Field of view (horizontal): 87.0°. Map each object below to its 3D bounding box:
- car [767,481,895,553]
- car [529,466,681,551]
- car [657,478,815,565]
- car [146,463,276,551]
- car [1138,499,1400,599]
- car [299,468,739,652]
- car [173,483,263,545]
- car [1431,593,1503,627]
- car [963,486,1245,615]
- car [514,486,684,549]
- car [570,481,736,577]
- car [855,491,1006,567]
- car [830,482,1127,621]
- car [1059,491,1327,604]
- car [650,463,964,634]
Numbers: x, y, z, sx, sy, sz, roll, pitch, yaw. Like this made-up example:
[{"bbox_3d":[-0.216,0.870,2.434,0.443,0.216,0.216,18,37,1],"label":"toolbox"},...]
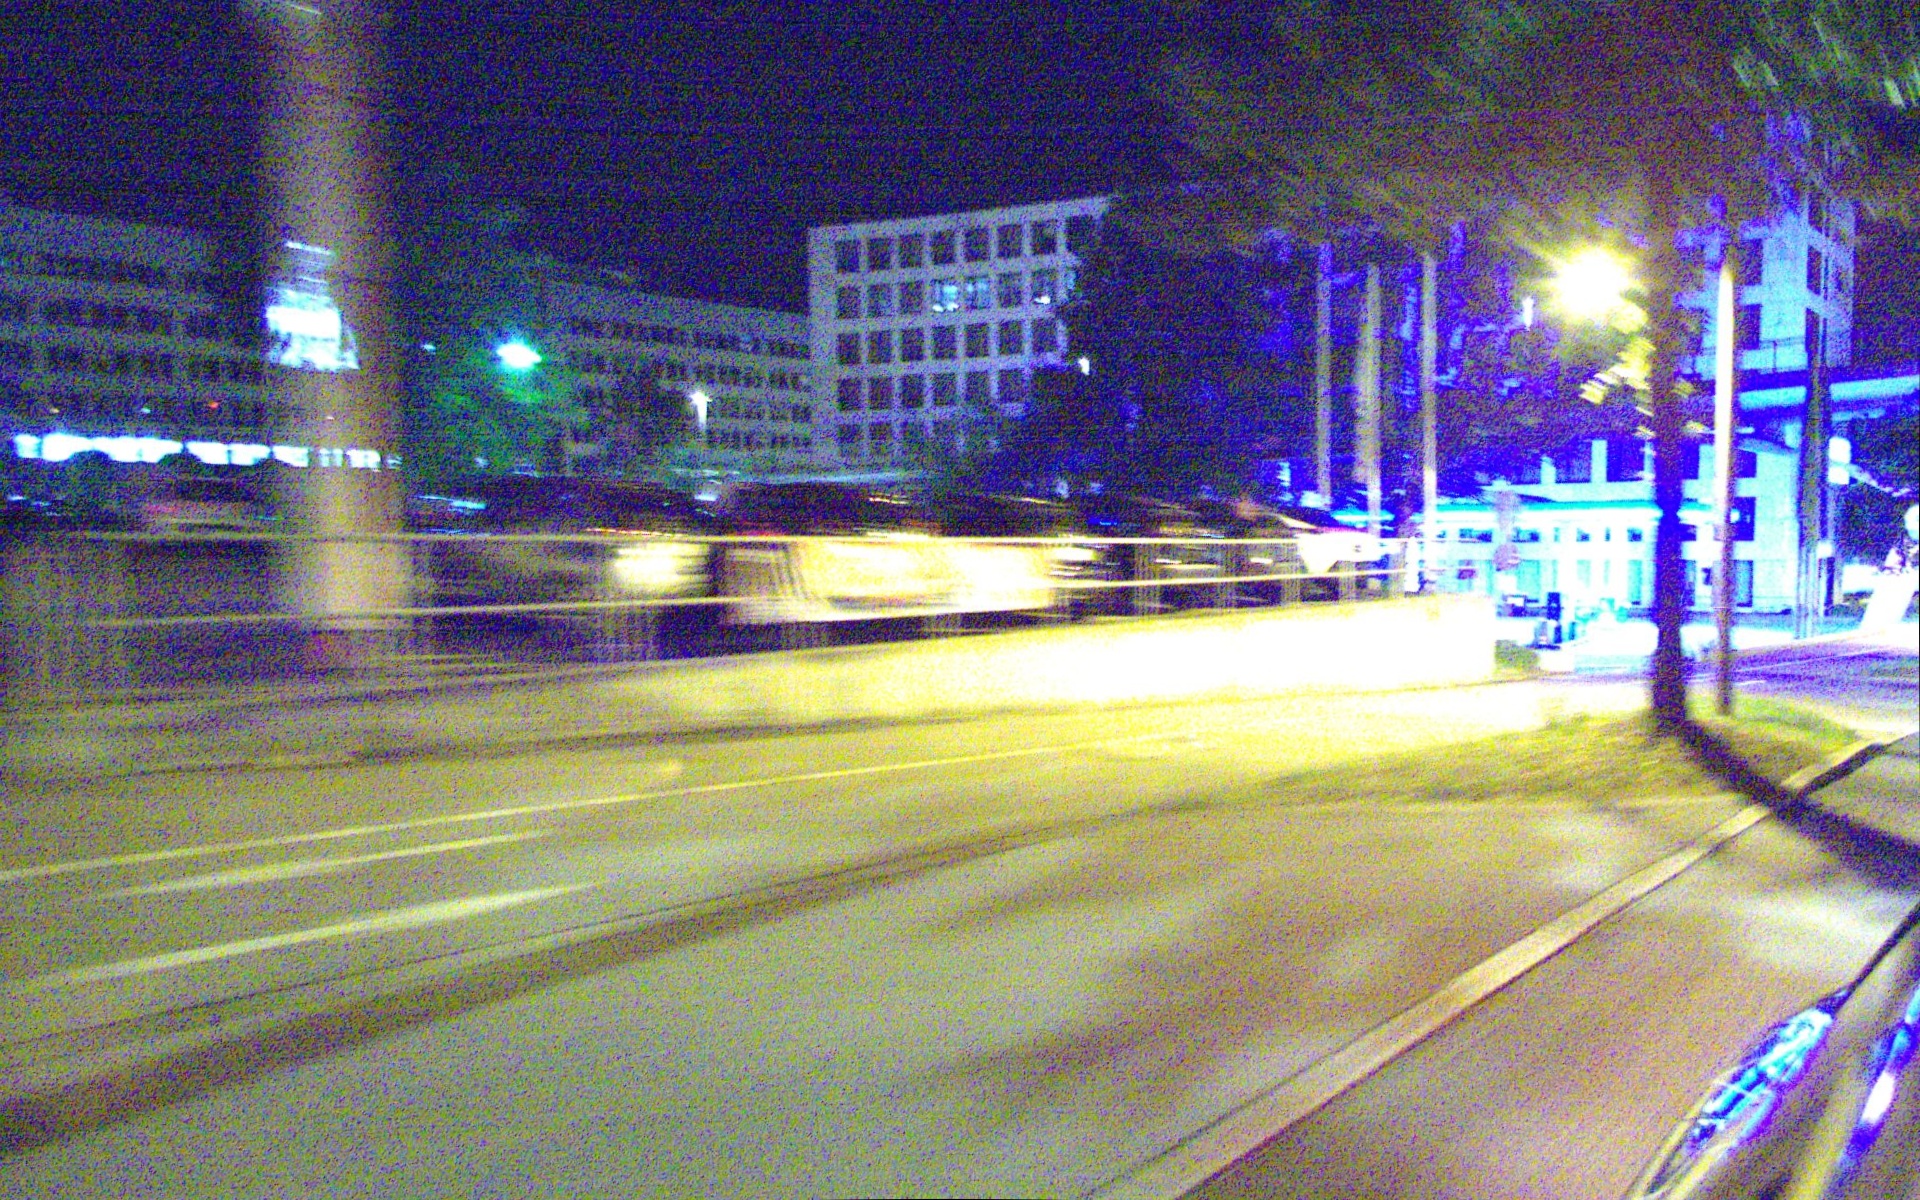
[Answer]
[{"bbox_3d":[-3.731,-2.341,28.870,1.723,1.918,3.814,-2,4,-43],"label":"car"},{"bbox_3d":[-9.007,-2.250,25.467,1.967,1.933,4.583,-2,5,-43],"label":"car"},{"bbox_3d":[-5.096,-1.800,22.575,1.719,1.745,4.375,-2,6,-38],"label":"car"},{"bbox_3d":[-14.449,-1.744,19.449,1.834,1.508,3.998,-2,5,-39],"label":"car"},{"bbox_3d":[5.317,-0.953,17.883,1.790,1.540,4.131,-3,5,-39],"label":"car"},{"bbox_3d":[-4.272,-0.483,9.919,3.795,1.507,1.731,3,5,19],"label":"car"},{"bbox_3d":[-20.628,-2.419,28.274,1.771,1.586,4.005,-2,6,-33],"label":"car"},{"bbox_3d":[23.818,0.414,47.478,1.926,1.380,4.269,2,3,43],"label":"car"},{"bbox_3d":[1.951,-0.810,14.587,1.750,1.605,3.755,-3,6,-41],"label":"car"},{"bbox_3d":[-12.404,-2.813,34.924,5.156,1.994,2.184,2,3,10],"label":"car"},{"bbox_3d":[-6.217,-1.458,20.213,1.787,1.709,3.998,-2,6,-39],"label":"car"},{"bbox_3d":[-0.821,-1.823,25.430,1.803,1.751,4.001,-2,6,-37],"label":"car"},{"bbox_3d":[0.113,-0.671,12.950,1.713,1.506,3.732,-2,5,-42],"label":"car"},{"bbox_3d":[3.612,-0.897,16.310,1.707,1.590,3.999,-2,5,-39],"label":"car"},{"bbox_3d":[-1.822,-0.624,11.292,1.699,1.588,3.566,-2,5,-44],"label":"car"}]
